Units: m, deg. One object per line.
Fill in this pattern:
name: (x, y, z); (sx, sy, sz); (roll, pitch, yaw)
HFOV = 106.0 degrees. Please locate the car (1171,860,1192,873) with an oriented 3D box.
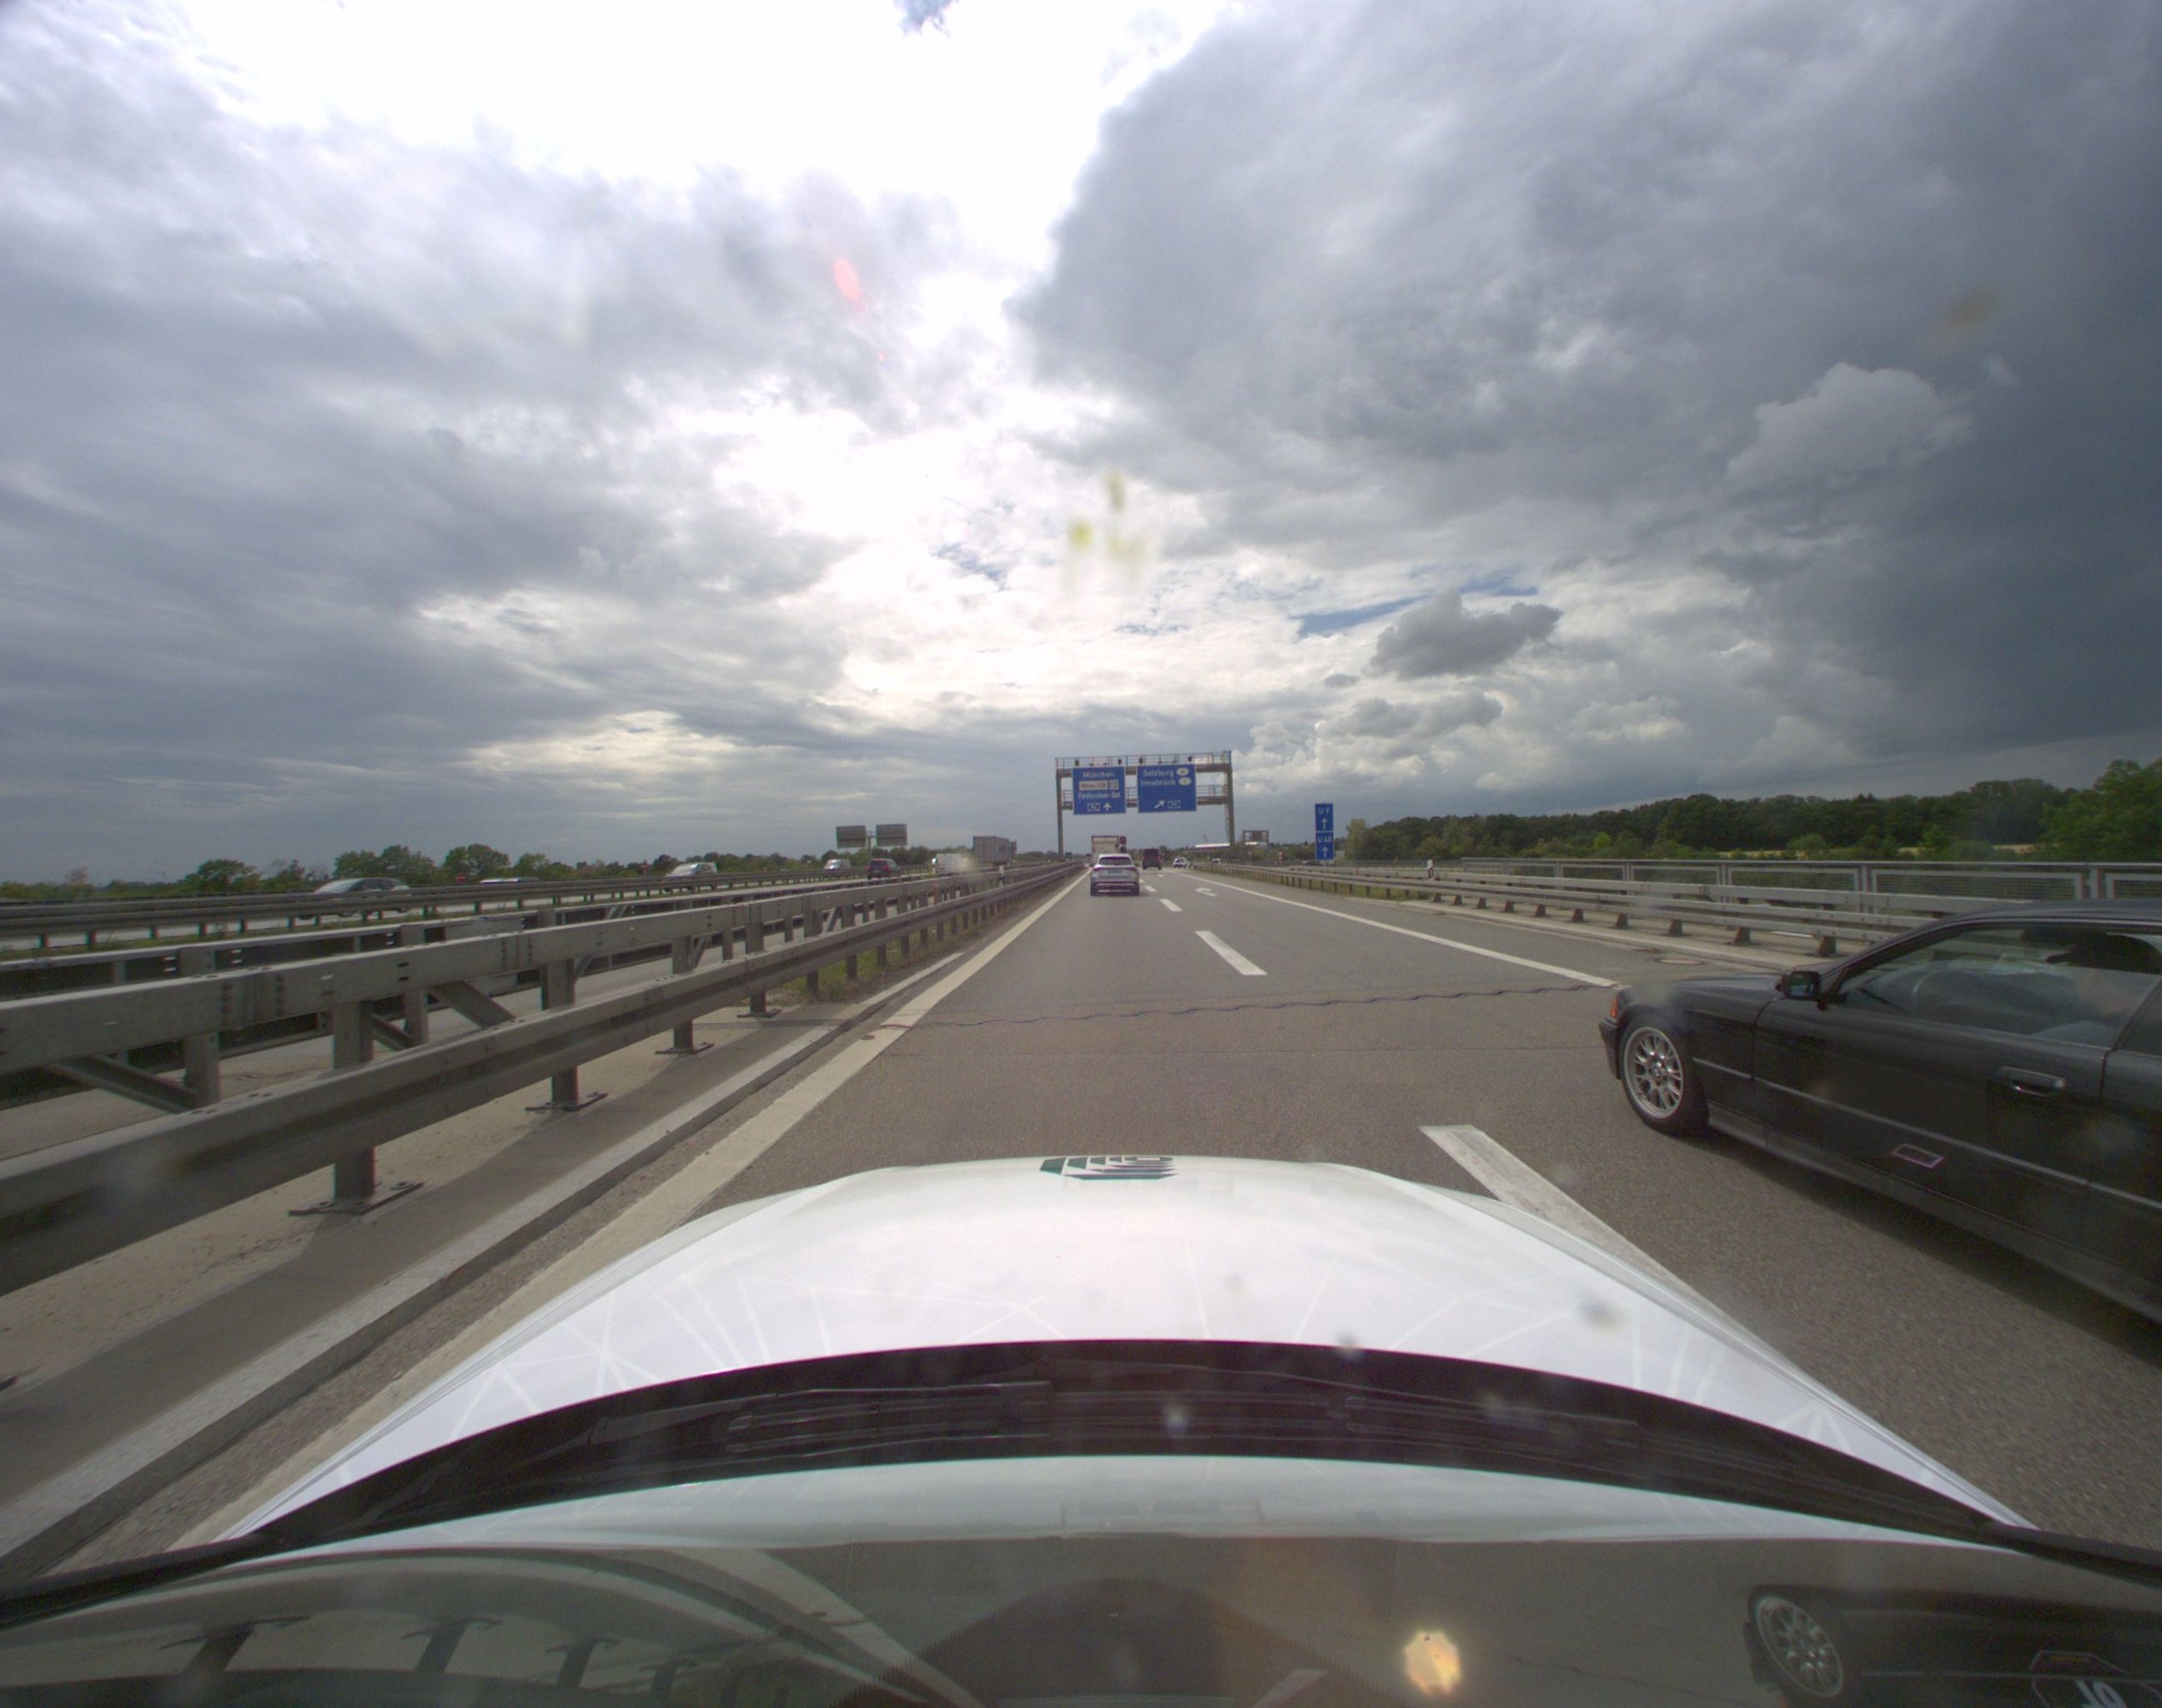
car: (14.518, 1.822, 117.343); (1.976, 1.709, 4.022); (0, 1, 24)

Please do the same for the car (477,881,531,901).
car: (-49.478, 3.145, 69.928); (1.659, 1.495, 3.912); (2, 0, 2)

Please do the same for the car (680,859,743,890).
car: (-22.971, 1.238, 50.814); (1.902, 1.793, 4.004); (-1, 1, 3)

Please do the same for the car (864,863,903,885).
car: (-15.438, 1.510, 63.877); (1.874, 1.546, 4.616); (0, 0, 1)

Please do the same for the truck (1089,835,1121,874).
truck: (2.054, 0.109, 69.109); (2.559, 3.126, 8.637); (0, -1, 2)

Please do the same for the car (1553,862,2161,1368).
car: (3.784, 0.716, 3.074); (1.697, 1.281, 4.370); (0, 1, 3)

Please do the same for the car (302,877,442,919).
car: (-28.279, 1.718, 32.693); (1.698, 1.422, 4.332); (0, 0, 2)

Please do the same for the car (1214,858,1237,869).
car: (23.239, 1.497, 130.970); (1.974, 1.709, 4.026); (0, 1, 36)

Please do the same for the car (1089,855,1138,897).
car: (1.286, 0.835, 32.457); (1.812, 1.514, 4.002); (0, 0, 2)

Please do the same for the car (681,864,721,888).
car: (-39.969, 2.300, 85.823); (1.986, 2.306, 4.492); (0, 0, 2)

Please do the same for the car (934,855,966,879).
car: (-11.508, 1.102, 71.729); (1.986, 2.013, 4.376); (0, 0, 2)

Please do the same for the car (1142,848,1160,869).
car: (7.719, 0.484, 90.032); (1.897, 2.262, 4.656); (0, 0, 5)

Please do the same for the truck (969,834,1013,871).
truck: (-10.630, -0.211, 97.876); (3.172, 4.019, 16.077); (0, 1, 1)
